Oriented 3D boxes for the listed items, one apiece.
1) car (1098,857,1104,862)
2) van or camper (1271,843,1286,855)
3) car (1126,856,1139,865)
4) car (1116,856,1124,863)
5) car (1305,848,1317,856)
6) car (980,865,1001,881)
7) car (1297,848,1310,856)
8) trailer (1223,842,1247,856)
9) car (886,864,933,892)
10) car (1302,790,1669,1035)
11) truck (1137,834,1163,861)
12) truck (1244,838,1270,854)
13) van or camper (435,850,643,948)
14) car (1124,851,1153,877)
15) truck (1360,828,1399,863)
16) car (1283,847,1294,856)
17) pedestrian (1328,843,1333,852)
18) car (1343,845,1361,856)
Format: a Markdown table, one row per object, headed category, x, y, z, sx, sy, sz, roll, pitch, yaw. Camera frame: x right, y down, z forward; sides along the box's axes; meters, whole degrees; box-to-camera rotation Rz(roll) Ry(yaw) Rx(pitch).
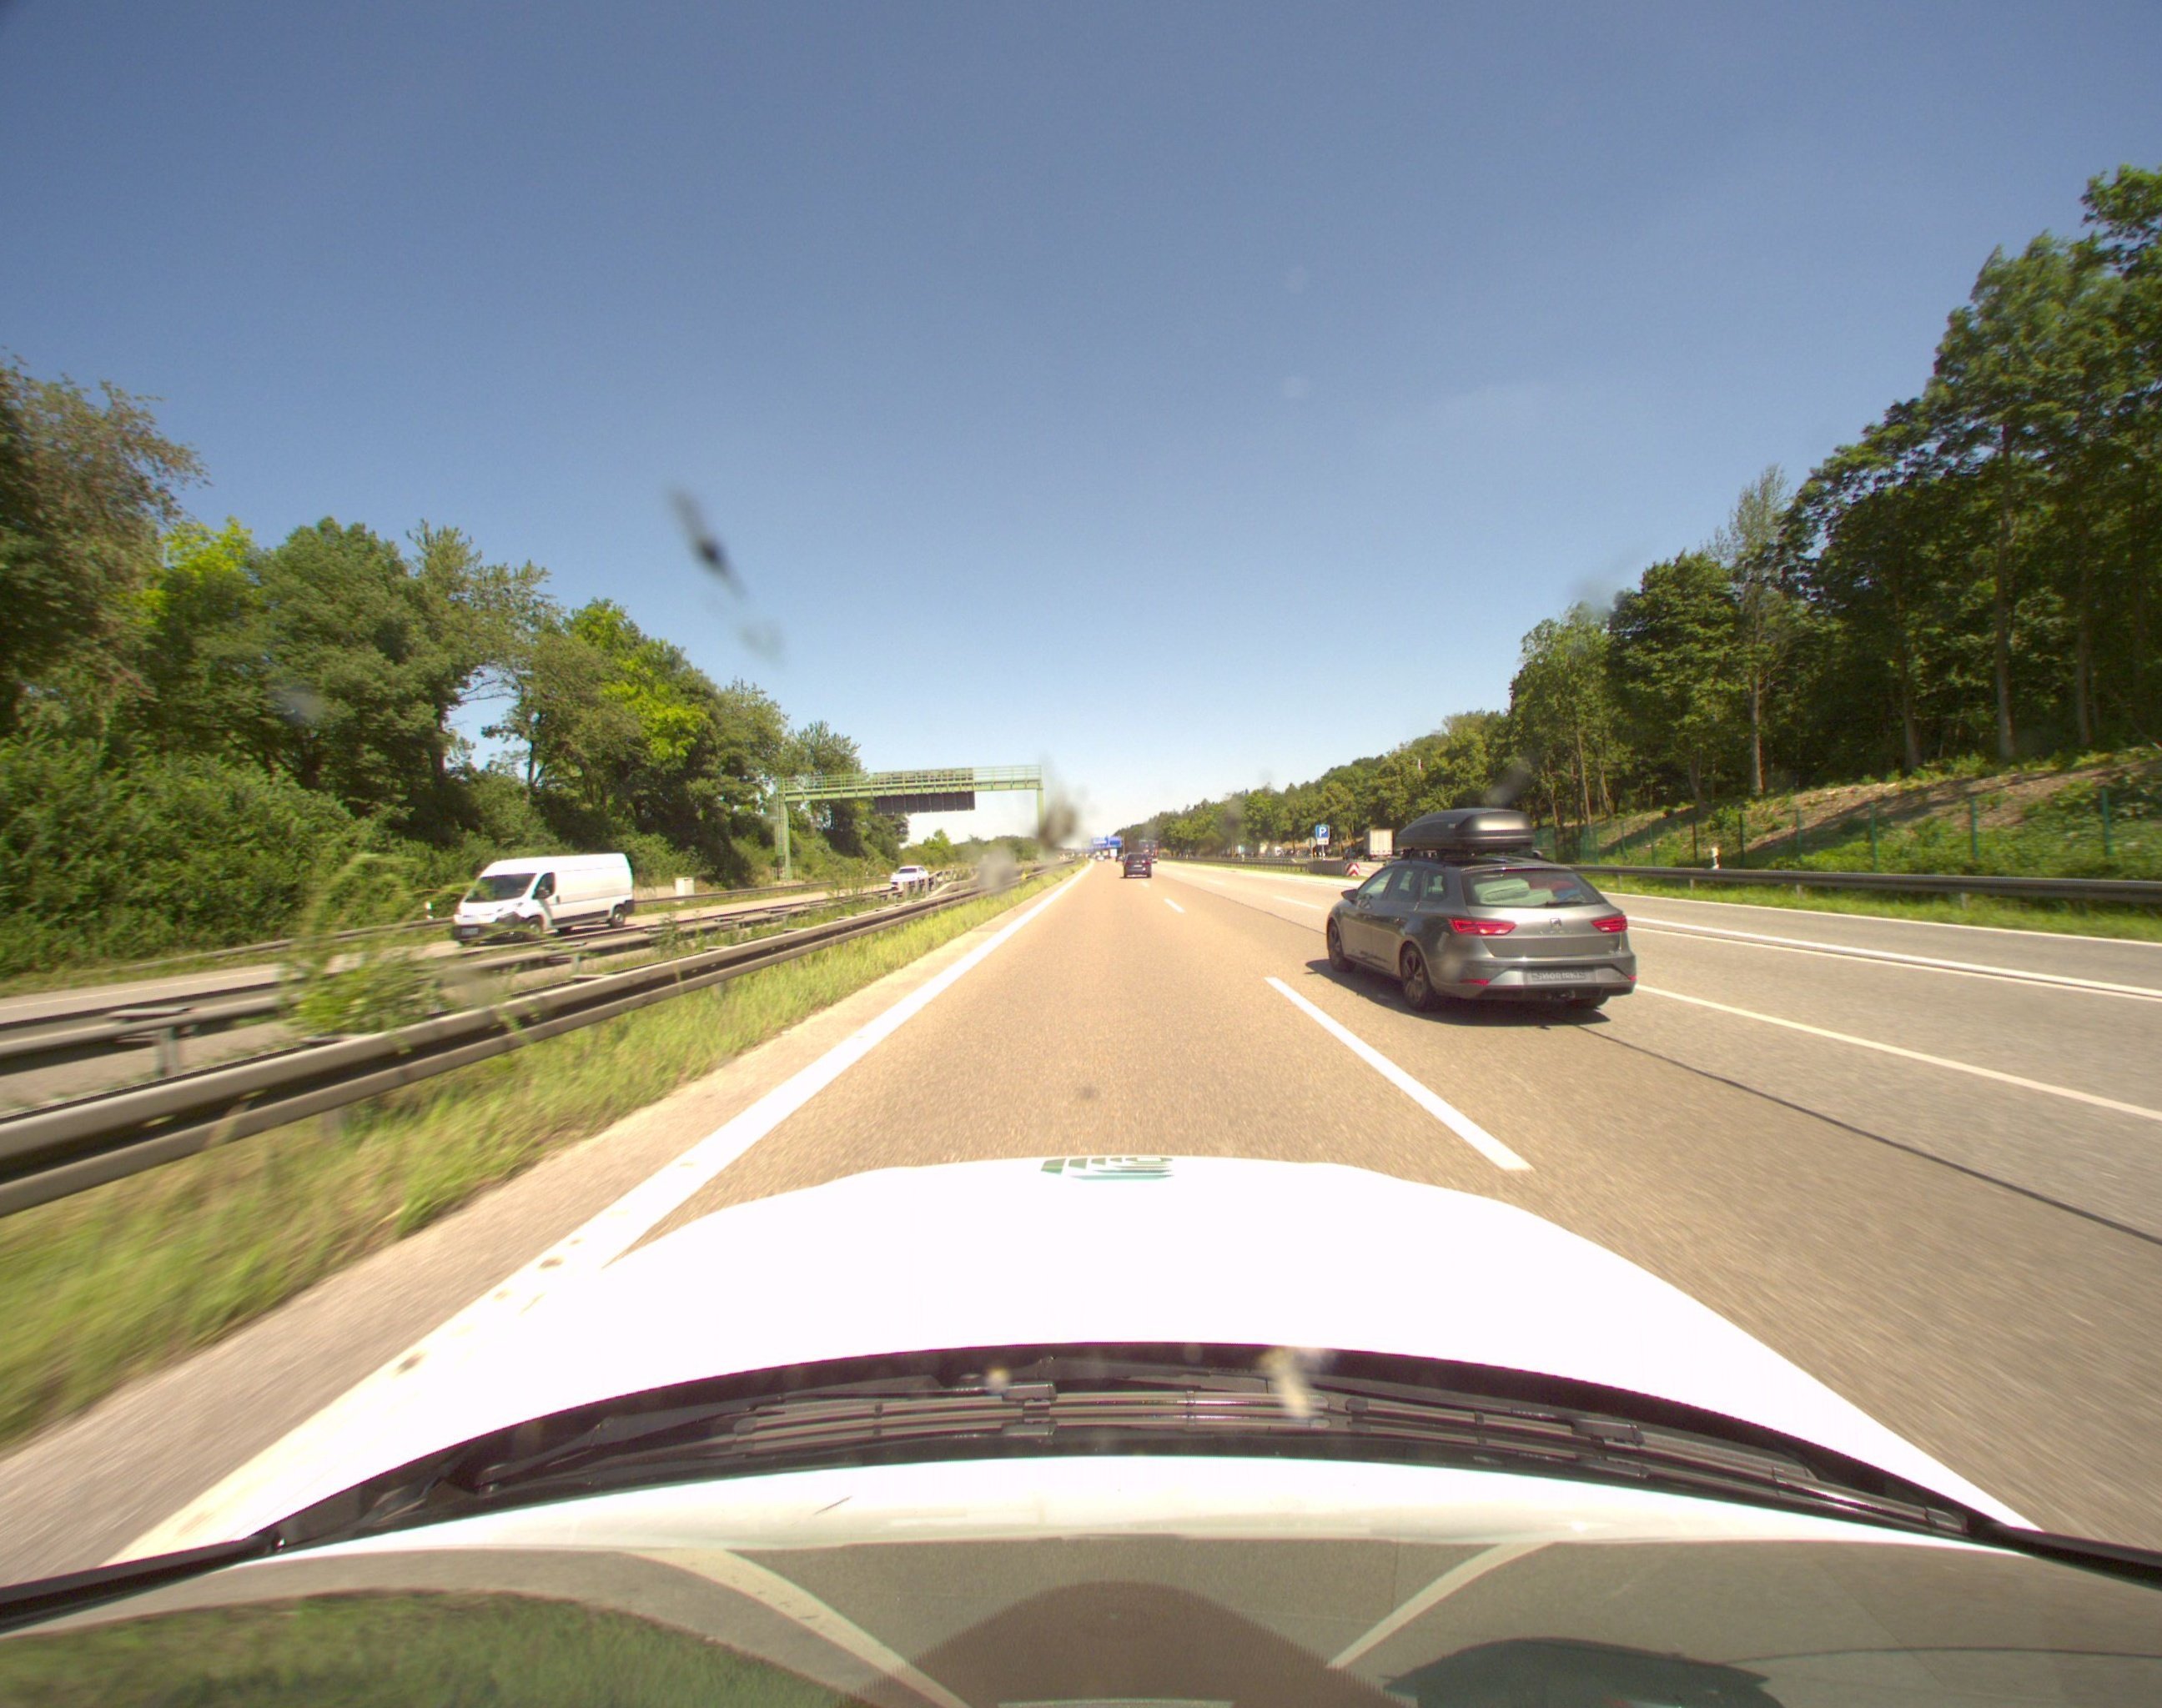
| category | x | y | z | sx | sy | sz | roll | pitch | yaw |
| --- | --- | --- | --- | --- | --- | --- | --- | --- | --- |
| car | 5.014 | 1.417 | 202.070 | 1.465 | 1.227 | 3.411 | -2 | 0 | 2 |
| van or camper | 46.774 | -1.177 | 193.006 | 2.195 | 2.530 | 5.877 | -2 | 0 | 2 |
| car | 7.353 | 0.890 | 117.126 | 1.702 | 1.155 | 3.690 | -2 | 0 | 2 |
| car | 8.401 | 1.140 | 175.523 | 1.465 | 1.398 | 3.411 | 1 | 0 | 2 |
| car | 46.258 | -0.402 | 163.843 | 1.981 | 1.574 | 4.011 | -2 | 0 | 10 |
| car | -9.998 | 2.083 | 90.125 | 1.660 | 1.464 | 3.883 | -5 | 0 | 2 |
| car | 46.456 | -0.398 | 170.322 | 1.649 | 1.675 | 4.655 | -2 | 0 | 3 |
| trailer | 44.328 | -1.300 | 234.944 | 2.854 | 3.796 | 14.160 | -1 | 0 | -6 |
| car | -11.615 | 1.607 | 55.505 | 1.871 | 1.610 | 5.312 | -4 | 0 | 2 |
| car | 3.878 | 0.460 | 8.914 | 1.659 | 1.876 | 4.829 | -3 | 0 | 2 |
| truck | 11.854 | -1.102 | 141.413 | 3.766 | 4.422 | 14.055 | -1 | 0 | 2 |
| truck | 46.214 | -1.973 | 214.047 | 2.989 | 3.931 | 14.443 | -2 | 0 | -3 |
| van or camper | -16.534 | 1.244 | 25.422 | 2.030 | 2.559 | 6.200 | -4 | 0 | 2 |
| car | 3.791 | 0.621 | 53.708 | 1.791 | 1.669 | 4.263 | -1 | 0 | 4 |
| truck | 37.263 | -1.053 | 101.879 | 3.263 | 3.947 | 9.383 | -2 | 0 | 13 |
| car | 45.950 | -0.536 | 180.480 | 1.648 | 1.877 | 4.808 | -2 | 0 | 6 |
| pedestrian | 46.347 | -1.188 | 151.322 | 0.792 | 1.782 | 0.645 | -2 | 0 | 14 |
| car | 41.782 | -0.567 | 125.564 | 1.981 | 1.651 | 4.331 | -2 | 0 | 10 |
